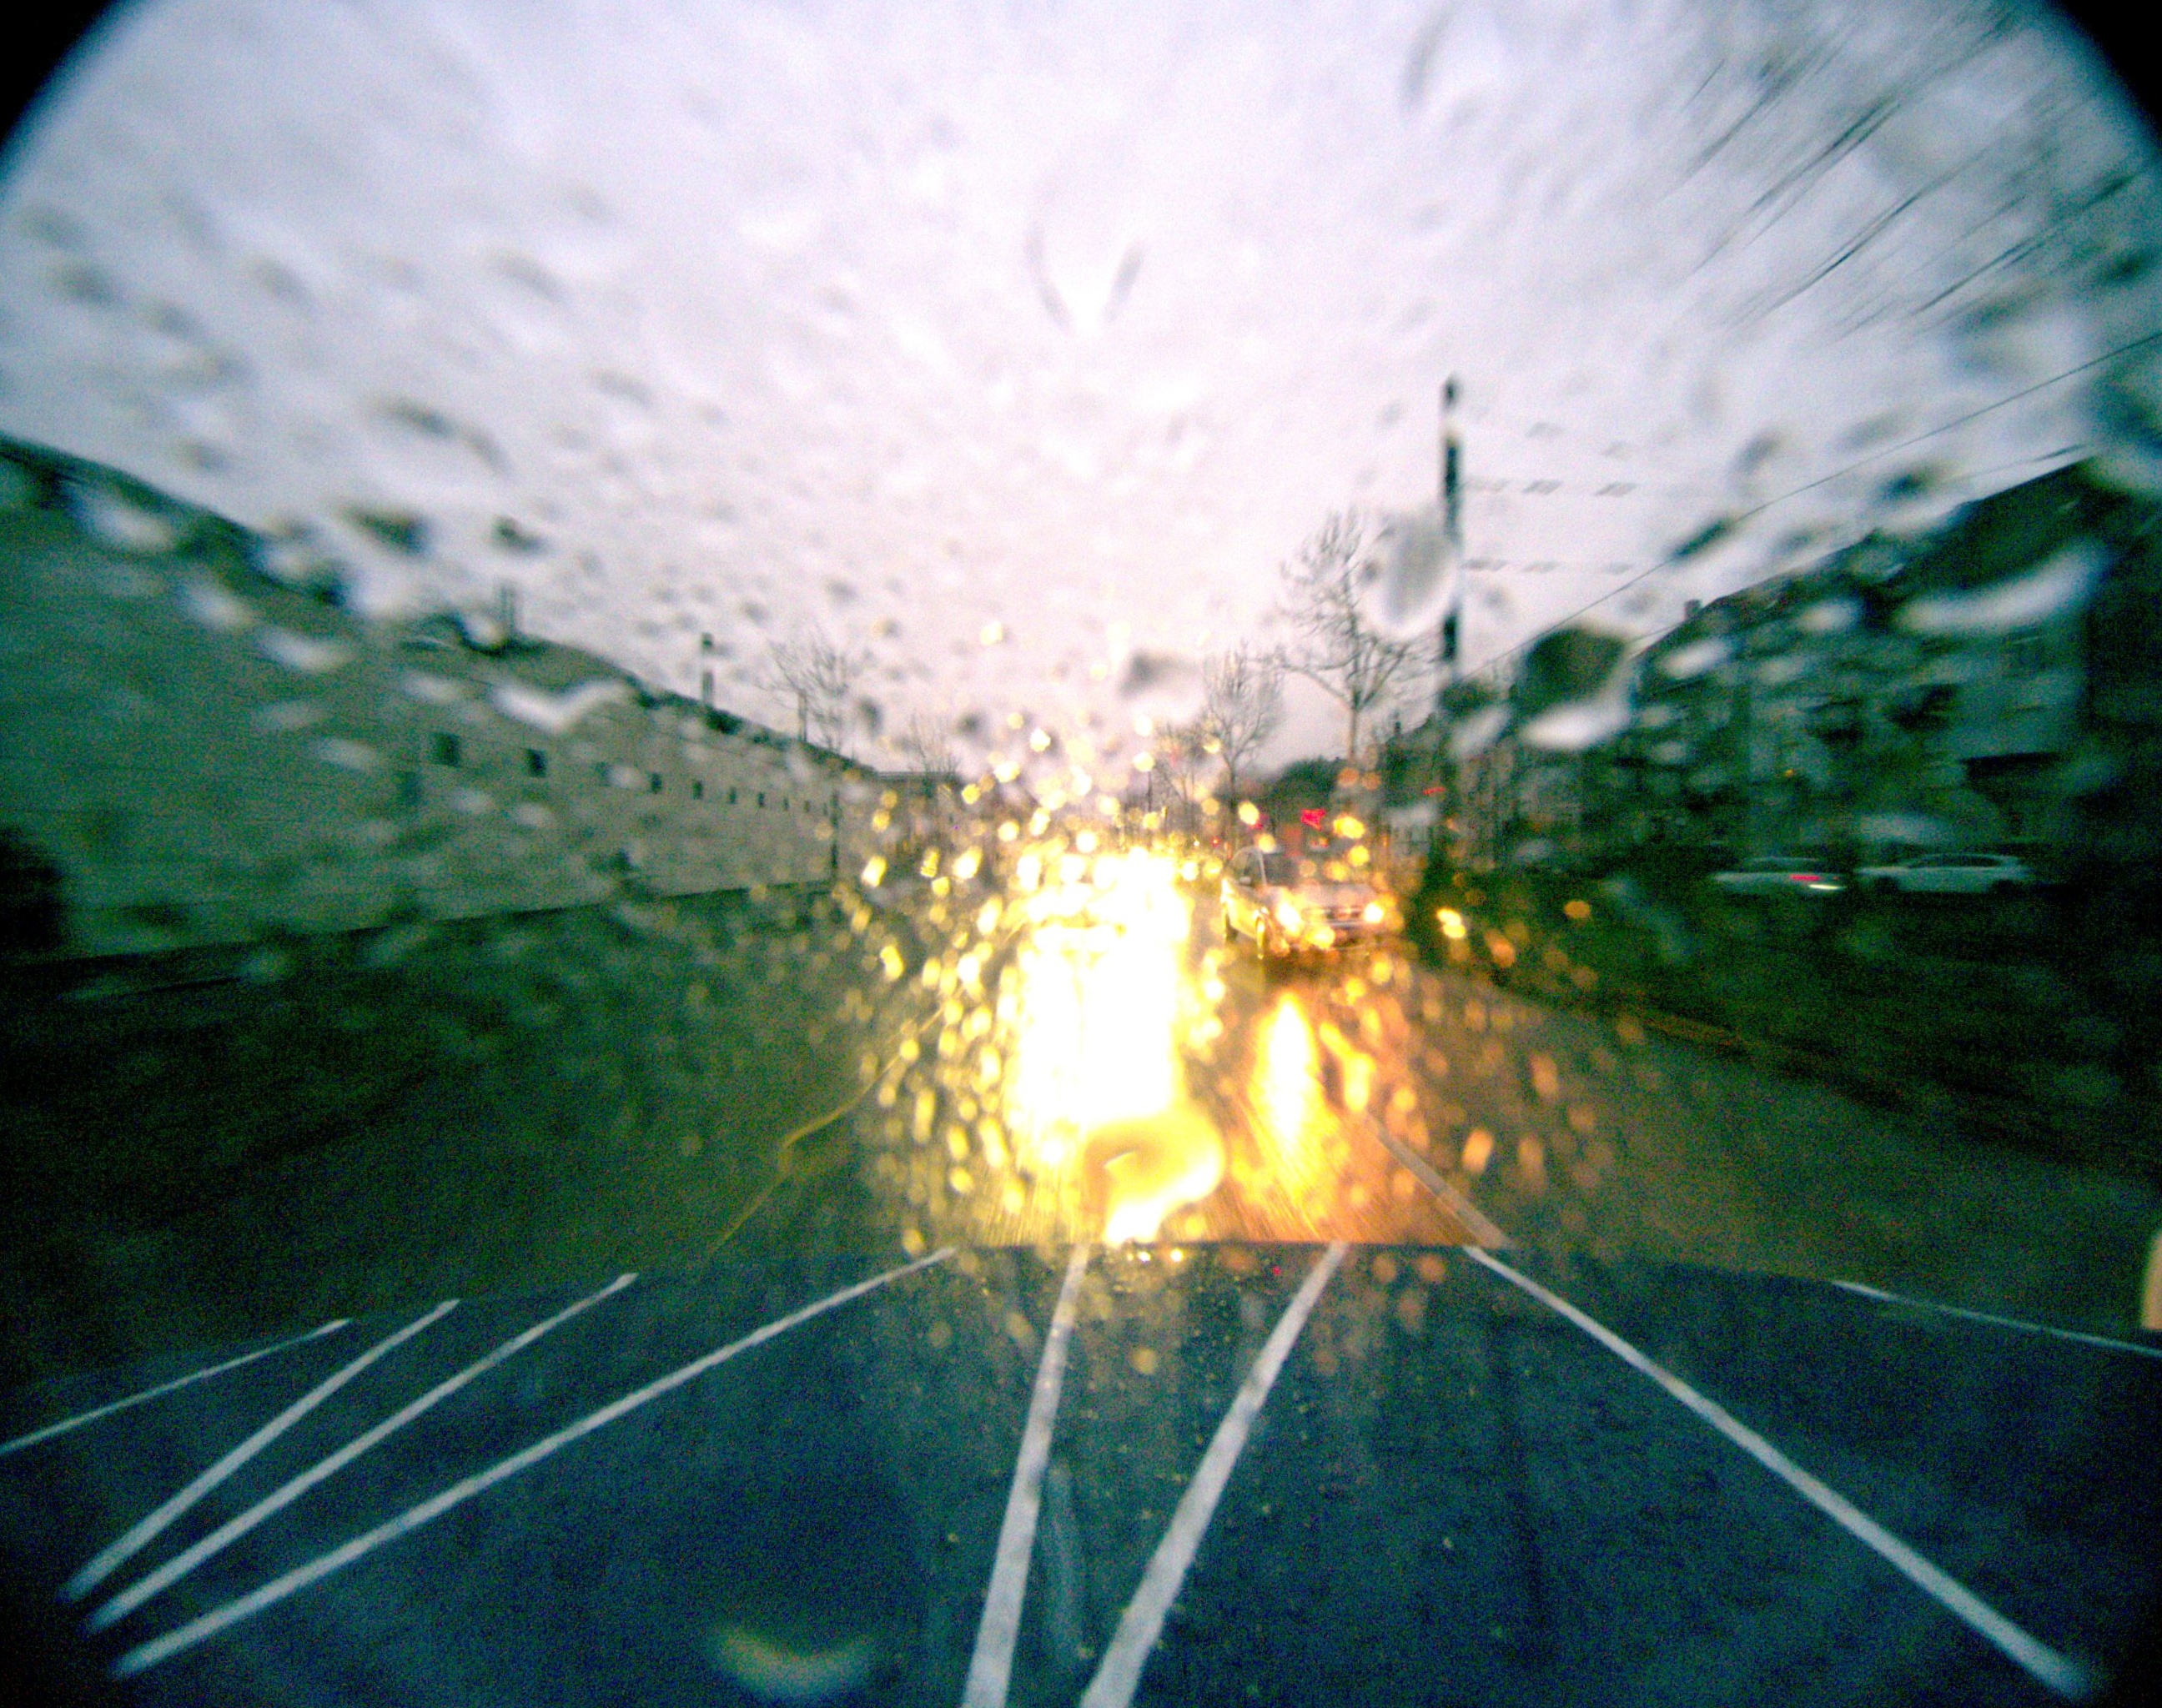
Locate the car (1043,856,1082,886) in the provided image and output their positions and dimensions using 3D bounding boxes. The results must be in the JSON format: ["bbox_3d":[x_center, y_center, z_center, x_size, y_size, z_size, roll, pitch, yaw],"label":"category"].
[{"bbox_3d":[-0.858,0.800,37.336,1.737,1.311,3.803,-2,1,0],"label":"car"}]

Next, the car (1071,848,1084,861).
[{"bbox_3d":[-0.511,0.064,107.459,1.787,1.690,3.639,-2,1,1],"label":"car"}]

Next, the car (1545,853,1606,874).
[{"bbox_3d":[30.347,0.573,46.716,1.233,1.162,3.899,-2,1,1],"label":"car"}]

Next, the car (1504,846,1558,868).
[{"bbox_3d":[30.679,0.190,51.936,1.468,1.332,3.910,-2,1,3],"label":"car"}]

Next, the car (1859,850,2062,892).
[{"bbox_3d":[29.373,0.556,25.623,4.254,1.251,1.837,-1,1,41],"label":"car"}]

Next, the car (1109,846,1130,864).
[{"bbox_3d":[3.719,0.057,74.471,1.802,1.674,3.805,-2,1,0],"label":"car"}]

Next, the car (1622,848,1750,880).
[{"bbox_3d":[28.498,0.490,35.985,4.651,1.424,1.697,-1,1,37],"label":"car"}]

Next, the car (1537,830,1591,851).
[{"bbox_3d":[39.481,-1.113,62.138,3.362,1.535,1.611,-2,1,2],"label":"car"}]

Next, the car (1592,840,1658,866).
[{"bbox_3d":[34.629,-0.107,48.461,1.684,1.542,3.538,-2,1,0],"label":"car"}]

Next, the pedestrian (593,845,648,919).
[{"bbox_3d":[-10.477,0.616,17.325,0.669,1.646,0.994,0,2,-5],"label":"pedestrian"}]

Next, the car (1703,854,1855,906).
[{"bbox_3d":[22.708,0.786,24.924,1.549,1.496,3.783,-2,1,1],"label":"car"}]

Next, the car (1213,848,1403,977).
[{"bbox_3d":[3.155,0.711,11.373,1.638,1.511,3.907,-2,1,0],"label":"car"}]

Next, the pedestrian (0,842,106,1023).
[{"bbox_3d":[-9.847,0.699,7.101,0.673,1.603,0.615,-2,1,14],"label":"pedestrian"}]

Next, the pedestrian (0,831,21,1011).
[{"bbox_3d":[-11.005,0.675,7.339,0.673,1.768,0.615,-2,1,14],"label":"pedestrian"}]

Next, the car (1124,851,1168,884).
[{"bbox_3d":[3.142,0.628,37.568,1.905,1.475,3.655,-2,1,2],"label":"car"}]

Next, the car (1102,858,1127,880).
[{"bbox_3d":[2.251,1.032,52.240,1.538,1.347,3.546,-2,1,0],"label":"car"}]

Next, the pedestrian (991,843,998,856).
[{"bbox_3d":[-11.372,-0.600,99.765,0.814,1.621,0.883,1,1,0],"label":"pedestrian"}]

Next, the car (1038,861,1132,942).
[{"bbox_3d":[0.076,0.876,15.710,1.669,1.325,3.786,-2,1,0],"label":"car"}]

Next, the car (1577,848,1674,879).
[{"bbox_3d":[28.374,0.496,39.652,3.940,1.440,1.823,-2,1,41],"label":"car"}]
